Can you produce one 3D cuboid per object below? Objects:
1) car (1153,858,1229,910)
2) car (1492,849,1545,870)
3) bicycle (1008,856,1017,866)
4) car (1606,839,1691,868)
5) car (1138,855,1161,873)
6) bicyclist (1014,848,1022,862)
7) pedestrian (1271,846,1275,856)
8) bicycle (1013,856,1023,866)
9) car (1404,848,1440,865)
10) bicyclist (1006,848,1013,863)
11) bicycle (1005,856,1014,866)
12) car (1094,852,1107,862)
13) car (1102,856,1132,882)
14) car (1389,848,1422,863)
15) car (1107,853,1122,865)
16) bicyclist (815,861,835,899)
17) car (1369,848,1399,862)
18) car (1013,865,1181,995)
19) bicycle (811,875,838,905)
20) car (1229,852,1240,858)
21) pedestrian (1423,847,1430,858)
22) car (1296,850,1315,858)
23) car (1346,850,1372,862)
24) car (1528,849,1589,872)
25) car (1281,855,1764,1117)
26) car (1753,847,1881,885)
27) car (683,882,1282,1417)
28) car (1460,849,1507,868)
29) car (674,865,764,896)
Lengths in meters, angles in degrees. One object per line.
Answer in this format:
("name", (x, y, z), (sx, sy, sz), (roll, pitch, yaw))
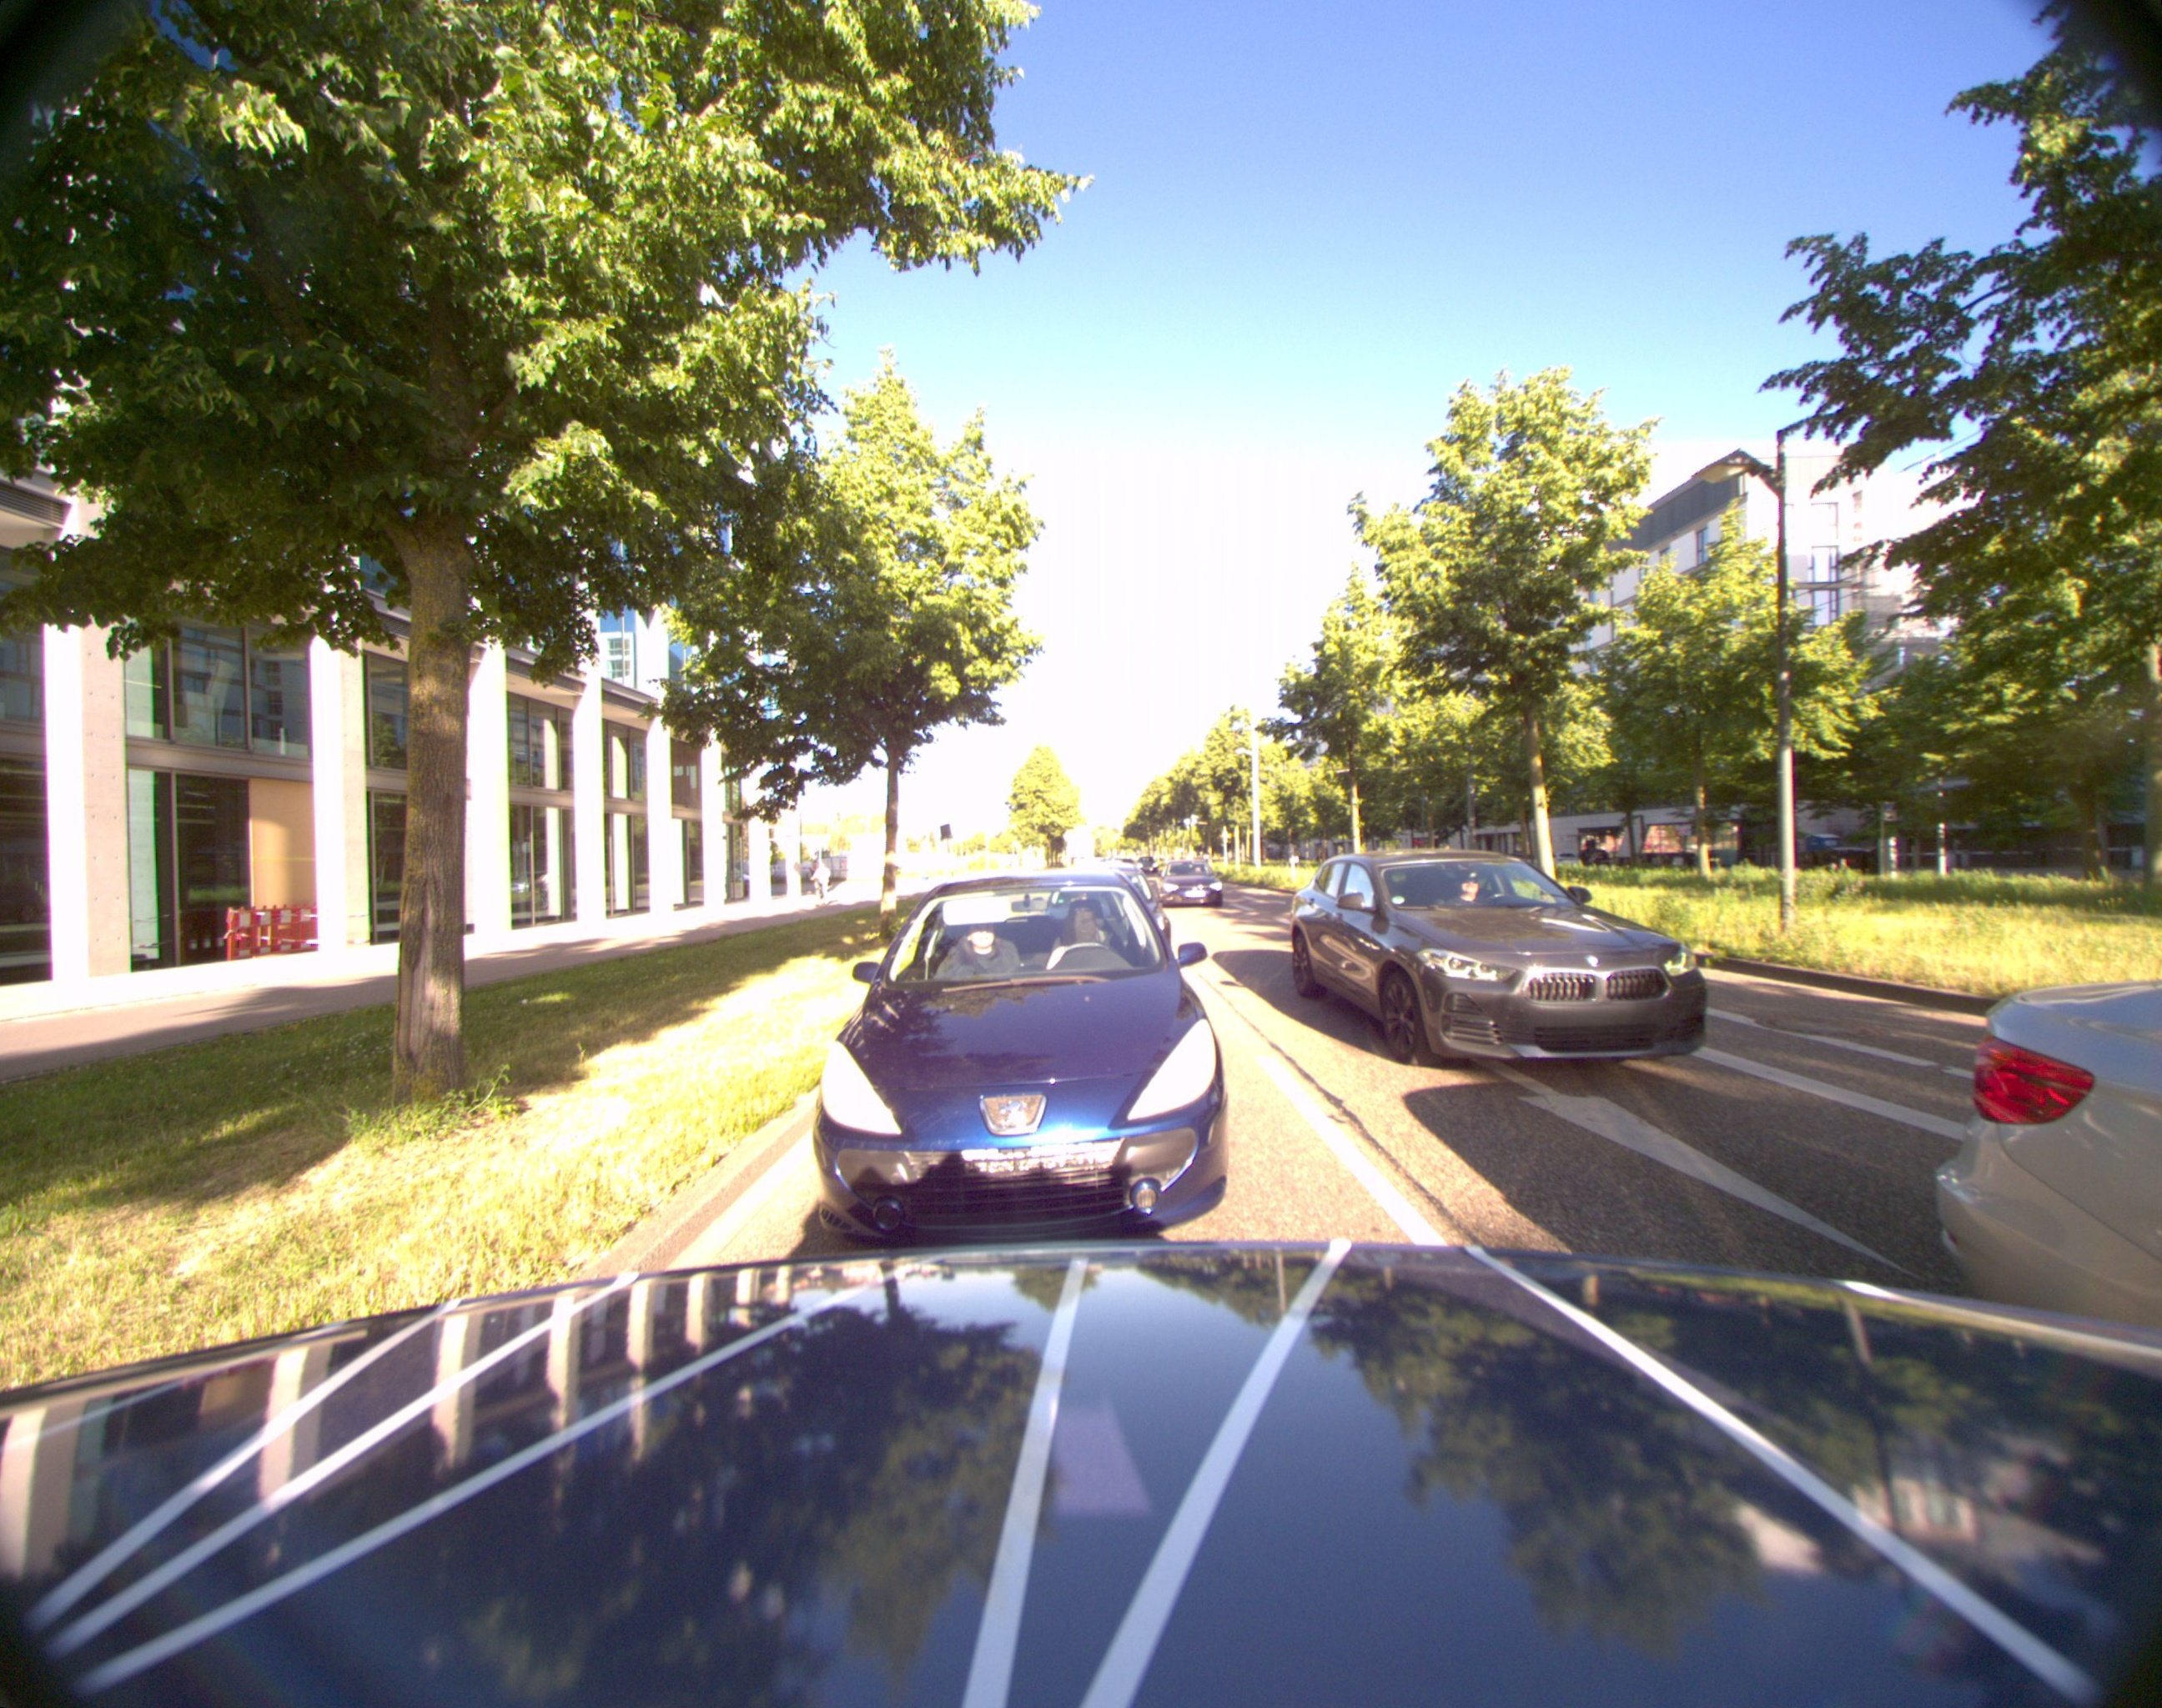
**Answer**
("car", (3.323, 0.865, 23.735), (1.878, 1.415, 4.344), (-1, 0, 2))
("car", (35.194, 0.400, 61.245), (1.884, 1.588, 4.184), (-1, 0, 1))
("bicycle", (-10.152, 1.003, 112.996), (0.931, 1.355, 4.000), (-1, 0, 1))
("car", (33.695, -0.013, 45.262), (1.951, 1.588, 4.184), (-1, 0, 1))
("car", (6.330, 0.874, 70.615), (1.878, 1.577, 4.344), (-1, 0, 2))
("bicyclist", (-9.055, 0.107, 108.820), (0.931, 2.045, 1.121), (-1, 1, 1))
("pedestrian", (37.806, -0.572, 149.582), (0.585, 2.002, 0.619), (-1, 1, 1))
("bicycle", (-9.032, 0.969, 108.918), (0.931, 1.355, 4.000), (-1, 0, 1))
("car", (35.037, 0.257, 78.210), (1.884, 1.588, 4.184), (-1, 0, 1))
("bicyclist", (-10.223, 0.183, 108.619), (0.931, 2.045, 1.121), (-1, 1, 1))
("bicycle", (-10.211, 1.046, 108.609), (0.931, 1.355, 4.000), (-1, 0, 1))
("car", (3.139, 0.519, 122.574), (1.879, 1.561, 4.344), (-1, 0, 1))
("car", (2.193, 0.903, 46.982), (1.724, 1.516, 4.000), (-1, 0, 1))
("car", (35.450, 0.187, 83.118), (1.884, 1.588, 4.184), (-1, 0, 1))
("car", (4.410, 0.664, 99.828), (1.878, 1.561, 4.344), (-1, 0, 2))
("bicyclist", (-10.492, 1.043, 31.163), (0.591, 1.530, 0.699), (1, 0, -5))
("car", (35.508, 0.130, 89.039), (1.884, 1.588, 4.184), (-1, 0, 1))
("car", (0.224, 0.952, 11.473), (1.998, 1.437, 4.622), (-1, 0, 1))
("bicycle", (-10.500, 1.453, 31.170), (0.591, 1.149, 1.927), (1, 0, -5))
("car", (36.127, 0.156, 179.246), (1.998, 1.387, 4.001), (-1, 0, 4))
("pedestrian", (41.867, -0.137, 92.037), (0.604, 1.331, 0.660), (-1, 1, 1))
("car", (36.619, -0.002, 124.167), (1.998, 1.387, 4.000), (-1, 0, 1))
("car", (35.263, 0.246, 96.388), (1.998, 1.387, 4.001), (-1, 0, 4))
("car", (34.907, 0.468, 55.642), (1.884, 1.588, 4.184), (-1, 0, 1))
("car", (3.103, 0.785, 6.443), (1.861, 1.482, 4.000), (-1, 0, 2))
("car", (34.090, 0.533, 35.366), (1.951, 1.588, 4.184), (-1, 0, 1))
("car", (-0.283, 1.019, 4.635), (1.846, 1.473, 4.481), (-2, 0, 1))
("car", (35.161, 0.355, 66.528), (1.884, 1.588, 4.184), (-1, 0, 1))
("car", (-20.037, 1.430, 42.168), (3.996, 1.569, 2.000), (-1, 0, 3))
